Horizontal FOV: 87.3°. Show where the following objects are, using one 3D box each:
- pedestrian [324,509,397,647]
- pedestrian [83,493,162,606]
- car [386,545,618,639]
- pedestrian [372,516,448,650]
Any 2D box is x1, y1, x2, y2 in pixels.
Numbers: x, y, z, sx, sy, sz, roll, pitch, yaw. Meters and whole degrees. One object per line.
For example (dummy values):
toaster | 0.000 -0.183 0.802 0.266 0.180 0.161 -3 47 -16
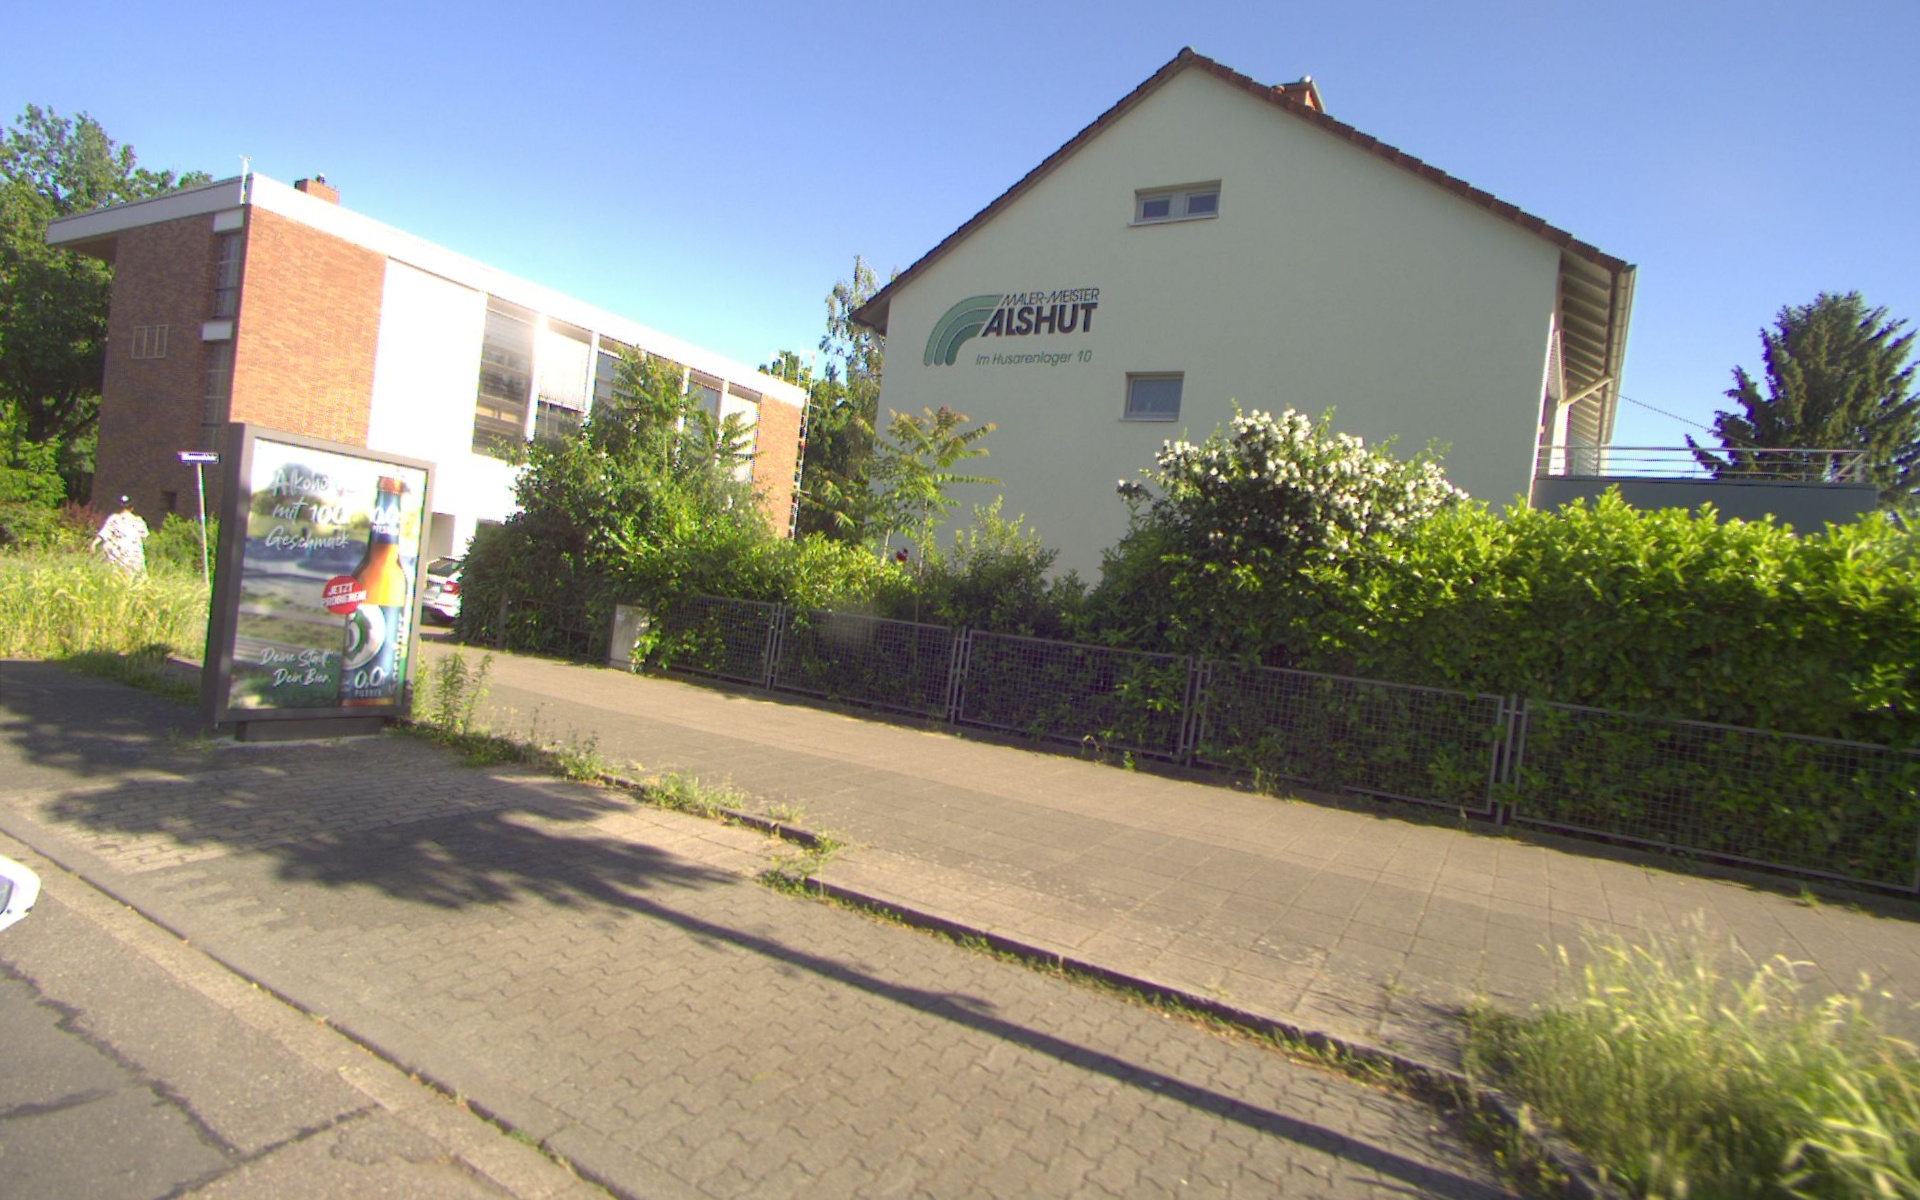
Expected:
pedestrian | -8.005 -0.293 13.430 0.552 1.753 0.653 7 -1 -43
pedestrian | -14.771 -0.888 17.758 0.896 1.843 0.728 7 -1 -40
car | -9.746 -0.105 21.733 1.776 1.521 4.201 8 0 31
pedestrian | -7.572 -0.240 13.847 0.604 1.753 0.632 7 -1 -43
